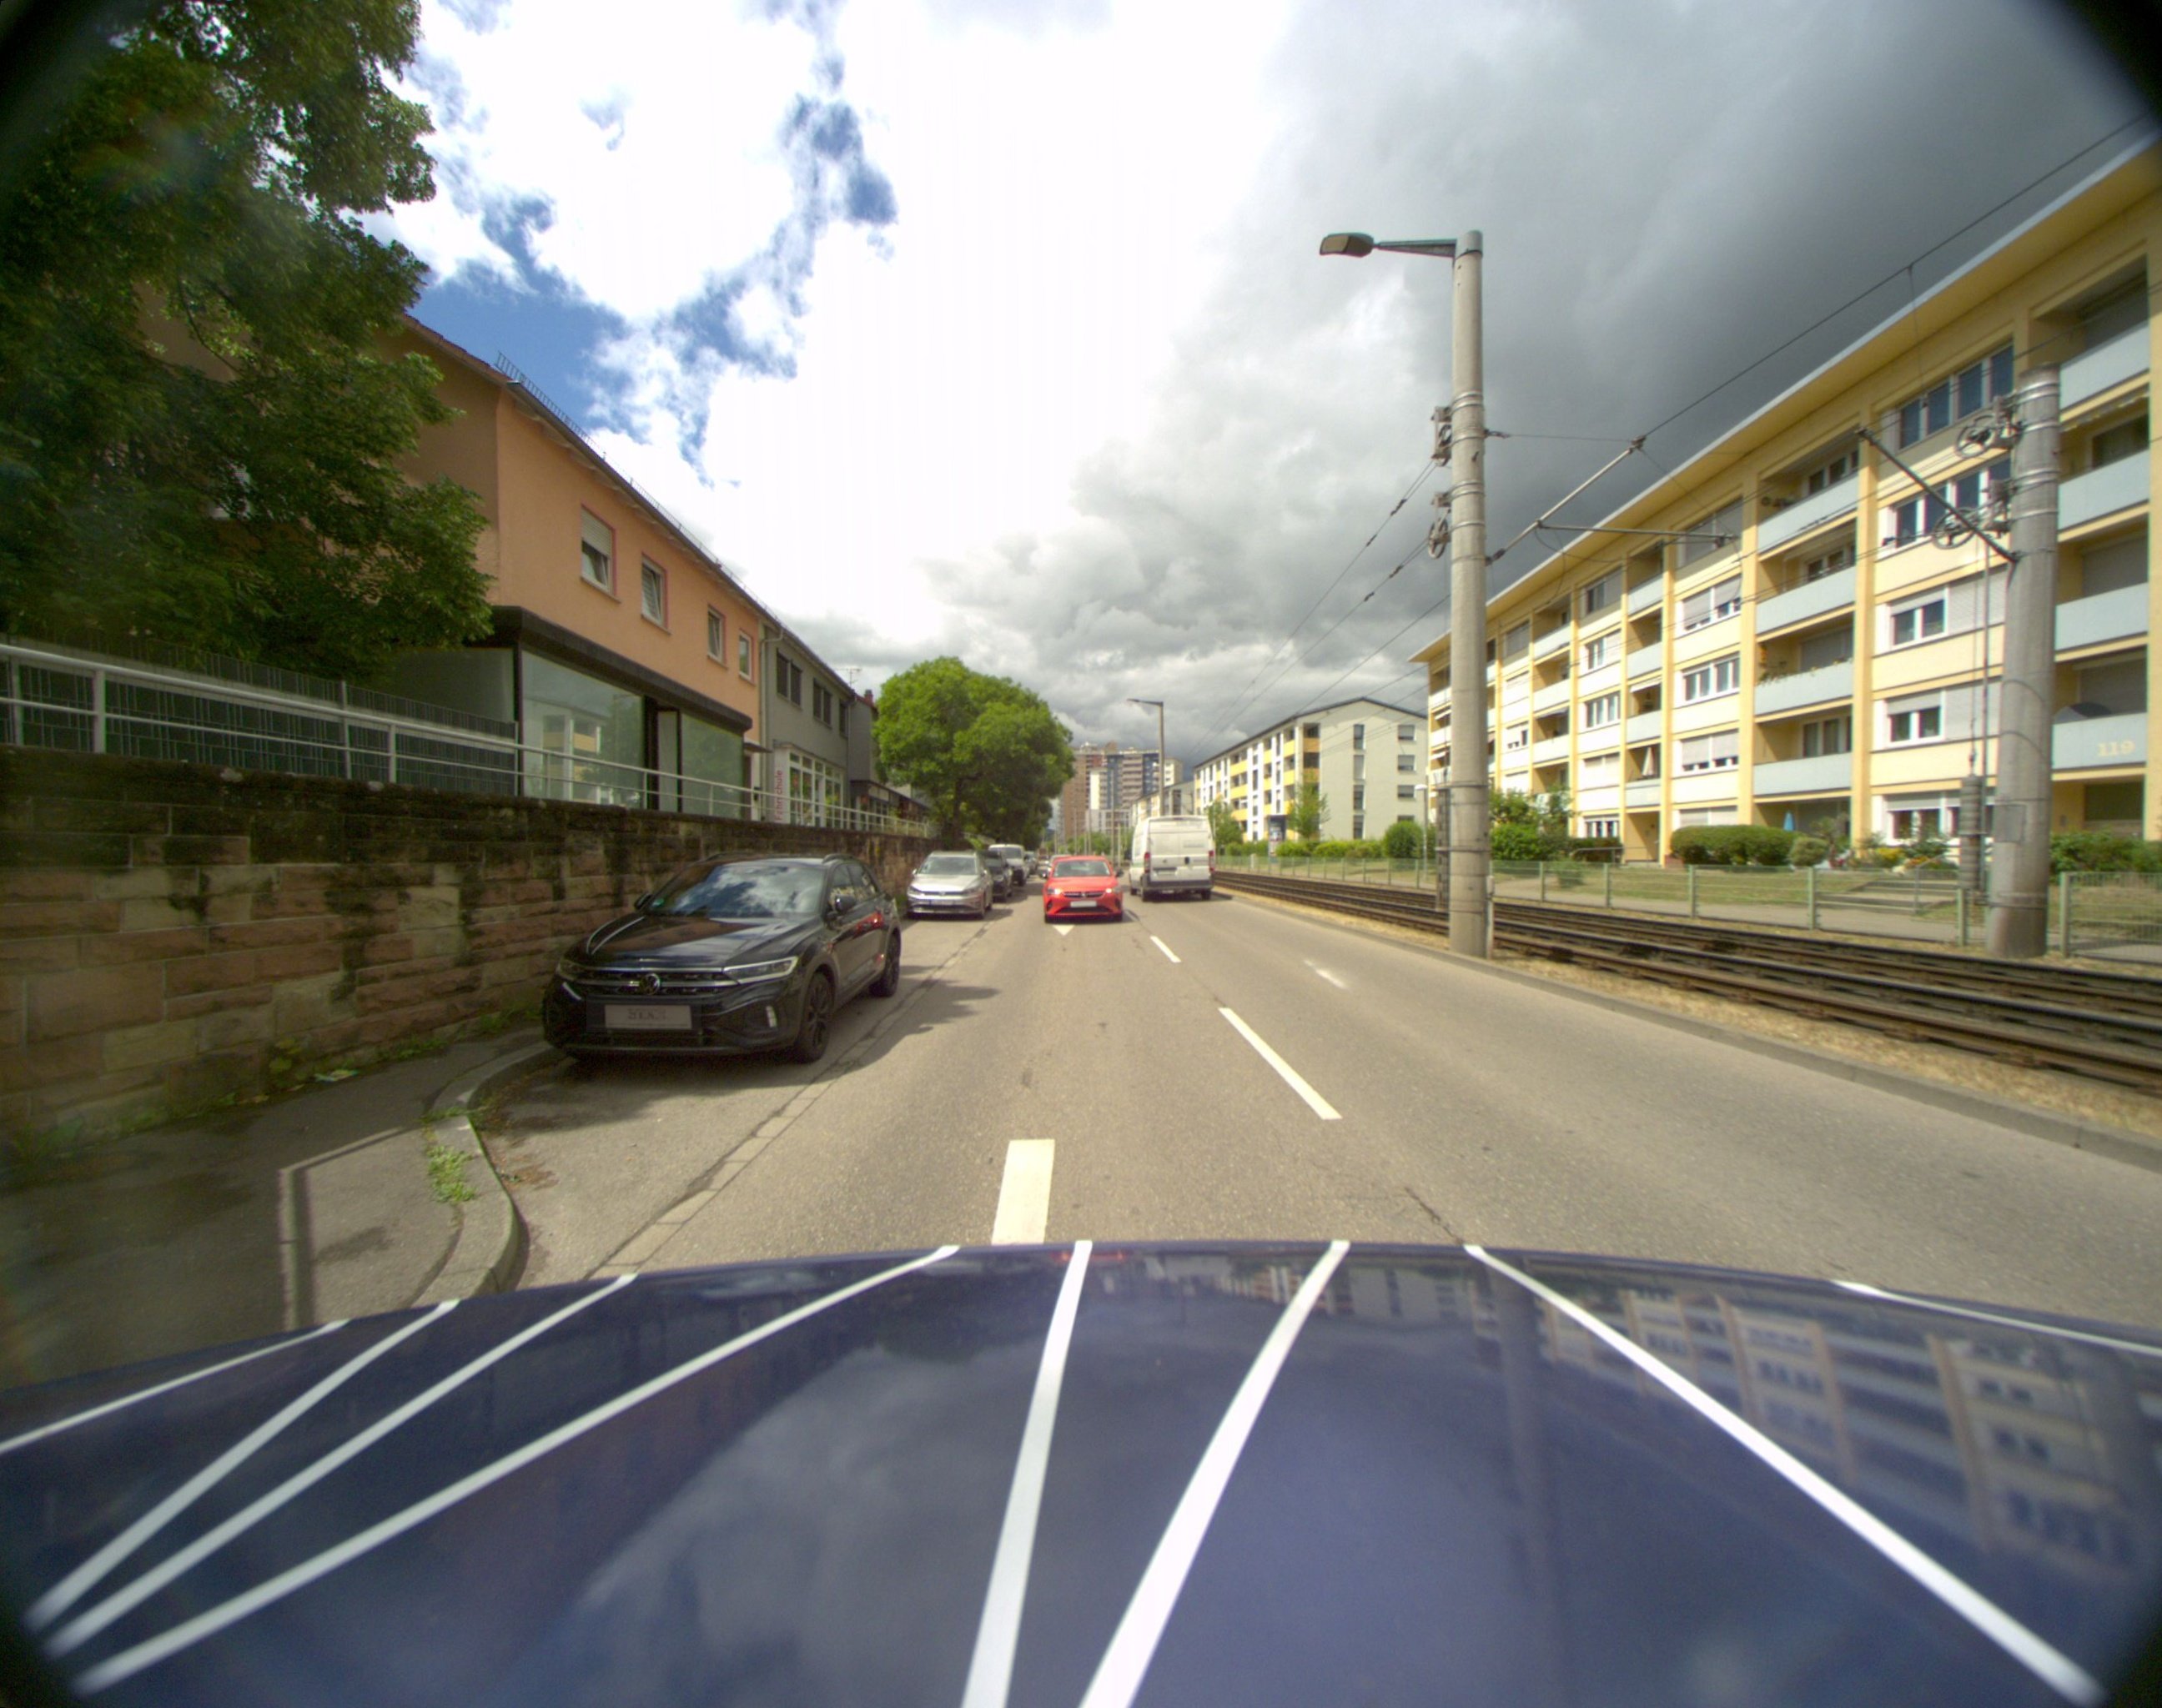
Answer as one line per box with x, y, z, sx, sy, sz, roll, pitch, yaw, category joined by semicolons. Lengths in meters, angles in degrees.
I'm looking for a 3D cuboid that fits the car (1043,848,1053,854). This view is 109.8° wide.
-8.603;-0.808;196.399;2.441;1.717;5.482;0;1;-1;car

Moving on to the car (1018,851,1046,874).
-3.493;0.593;55.075;1.854;1.508;4.810;0;1;-1;car

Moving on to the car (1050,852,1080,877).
-0.916;0.591;45.115;1.639;1.346;3.999;-2;1;0;car

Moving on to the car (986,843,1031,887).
-3.449;0.458;36.992;1.854;1.997;4.968;0;1;-1;car

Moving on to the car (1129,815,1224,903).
2.837;0.102;23.906;2.237;2.460;5.085;0;1;-1;car

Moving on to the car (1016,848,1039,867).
-4.972;0.327;71.067;1.854;1.717;4.810;0;1;-1;car

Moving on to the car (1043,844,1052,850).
-9.272;-1.998;209.610;2.441;1.717;5.482;0;1;-1;car

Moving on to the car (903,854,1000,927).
-3.060;0.809;18.801;1.760;1.559;4.174;1;0;-1;car

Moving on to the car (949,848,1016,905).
-3.131;0.661;24.957;1.760;1.706;3.999;0;1;-1;car

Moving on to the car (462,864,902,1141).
-2.869;0.919;6.601;1.760;1.570;4.021;0;1;-1;car

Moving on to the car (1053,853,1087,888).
-0.528;0.716;34.944;1.499;1.477;3.519;0;1;-1;car

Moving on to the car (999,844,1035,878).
-3.809;0.379;46.092;1.854;1.926;4.968;0;1;-1;car

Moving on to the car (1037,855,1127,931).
-0.031;0.805;17.633;1.783;1.434;4.130;-2;1;-1;car
